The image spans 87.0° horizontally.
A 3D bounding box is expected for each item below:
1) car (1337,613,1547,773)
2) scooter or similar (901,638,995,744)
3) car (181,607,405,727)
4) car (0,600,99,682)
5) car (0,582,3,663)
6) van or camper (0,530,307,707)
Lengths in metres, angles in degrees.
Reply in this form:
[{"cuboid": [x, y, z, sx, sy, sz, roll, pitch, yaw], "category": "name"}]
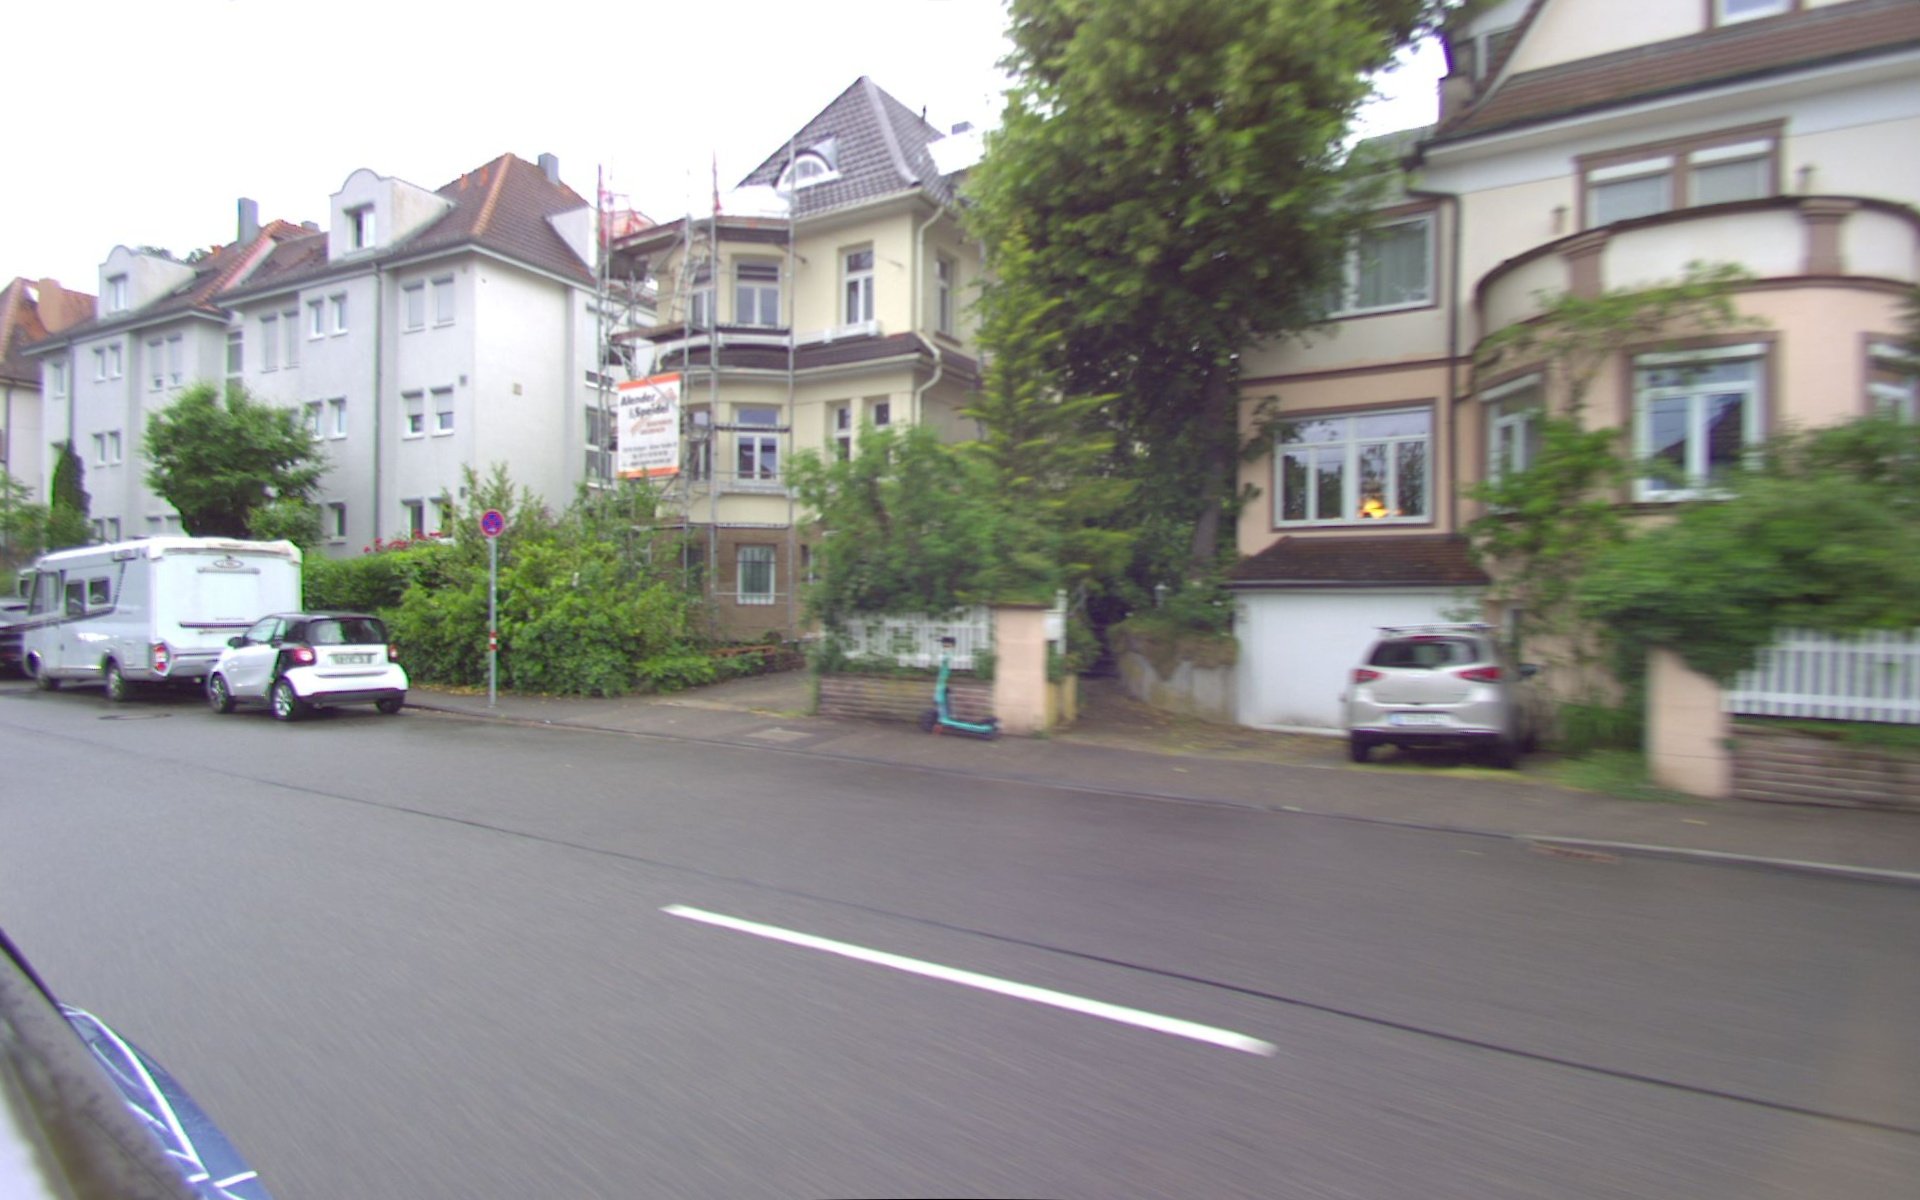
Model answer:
[{"cuboid": [5.728, 0.997, 11.811, 1.705, 1.553, 3.551, -3, -4, 33], "category": "car"}, {"cuboid": [-0.155, 1.083, 12.354, 1.139, 1.197, 0.398, 0, 1, 38], "category": "scooter or similar"}, {"cuboid": [-10.151, 0.927, 15.364, 3.306, 1.607, 1.583, 0, 0, 31], "category": "car"}, {"cuboid": [-20.644, 0.812, 21.803, 4.729, 1.607, 1.818, 0, 0, 31], "category": "car"}, {"cuboid": [-26.228, 0.566, 25.404, 4.559, 2.003, 1.821, 0, 1, 28], "category": "car"}, {"cuboid": [-14.625, 0.285, 18.249, 6.093, 2.745, 2.331, 0, 0, 30], "category": "van or camper"}]
